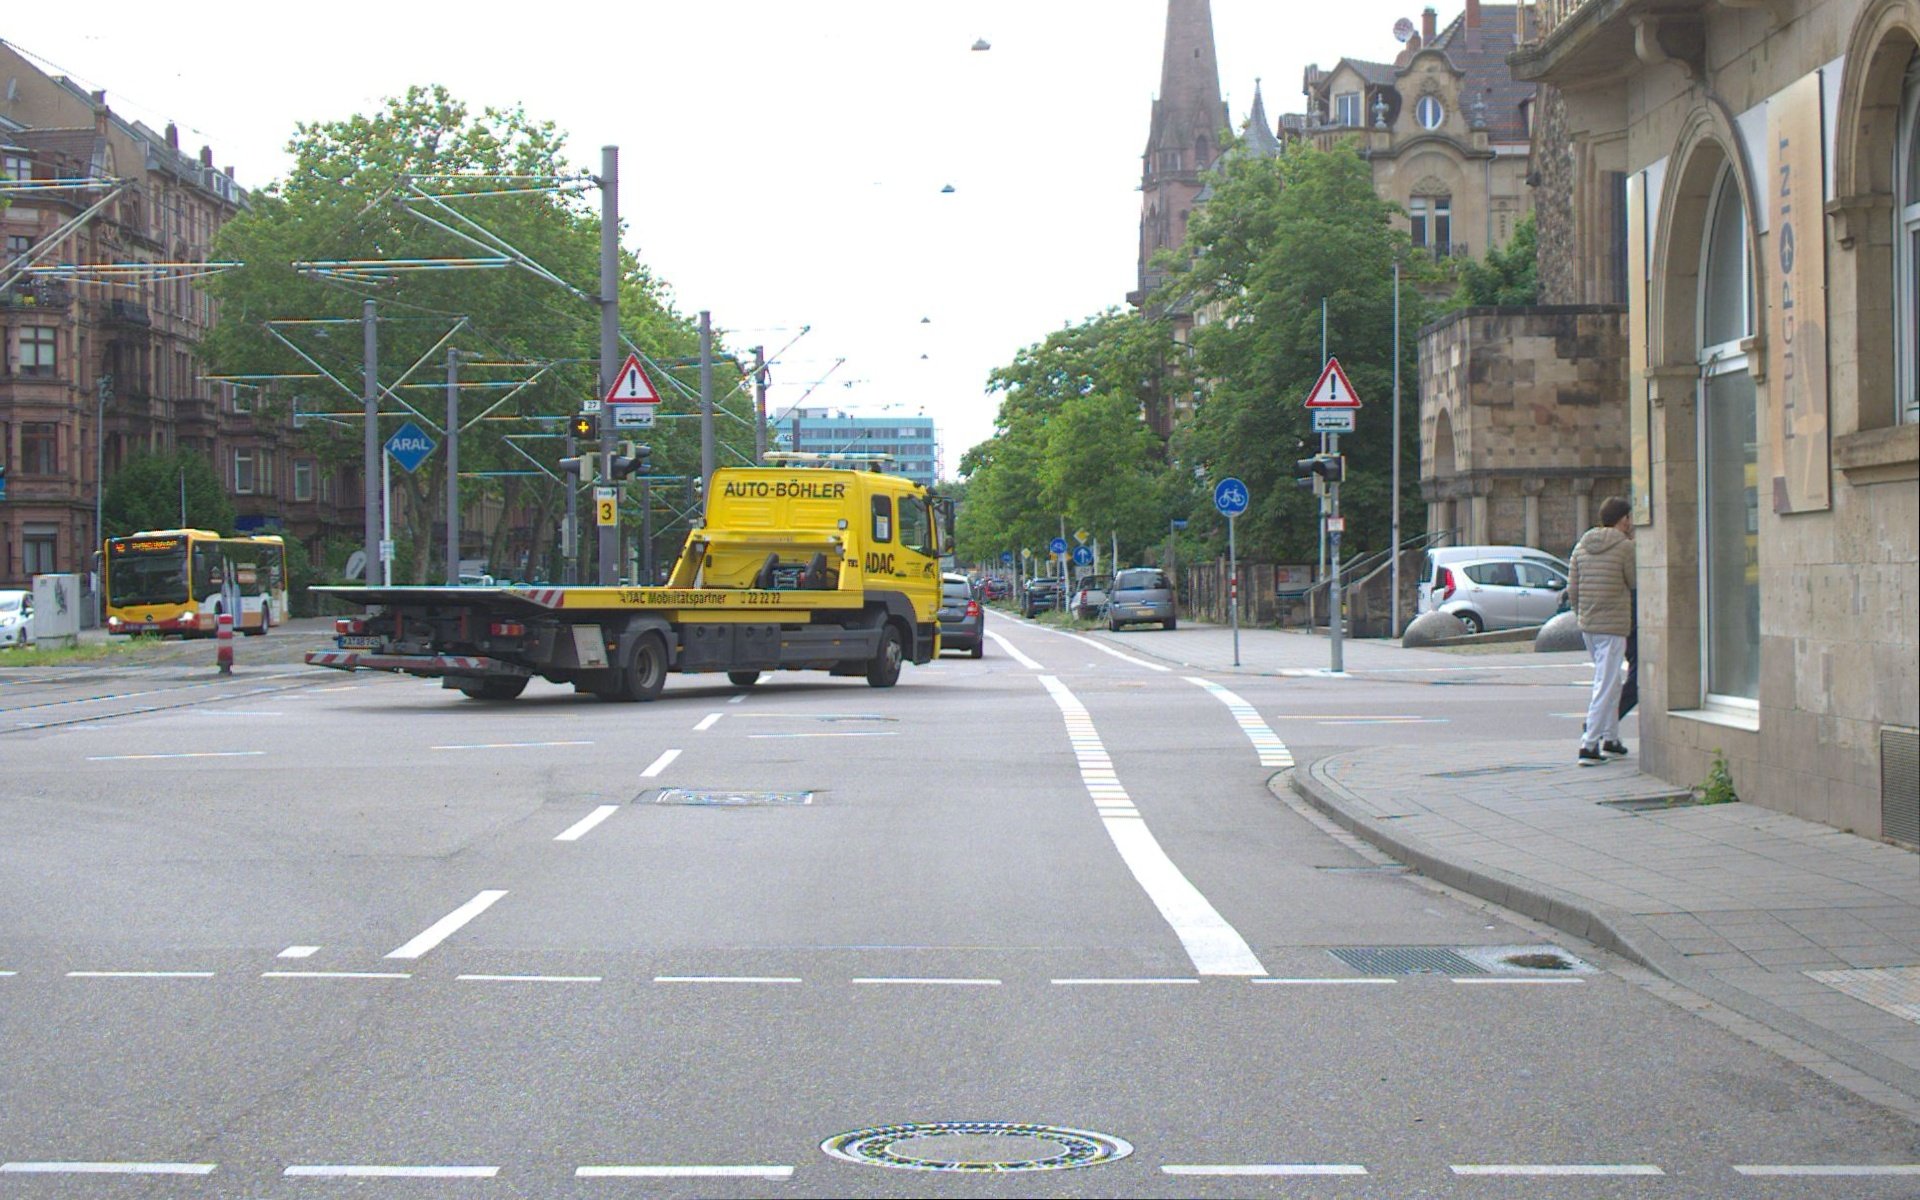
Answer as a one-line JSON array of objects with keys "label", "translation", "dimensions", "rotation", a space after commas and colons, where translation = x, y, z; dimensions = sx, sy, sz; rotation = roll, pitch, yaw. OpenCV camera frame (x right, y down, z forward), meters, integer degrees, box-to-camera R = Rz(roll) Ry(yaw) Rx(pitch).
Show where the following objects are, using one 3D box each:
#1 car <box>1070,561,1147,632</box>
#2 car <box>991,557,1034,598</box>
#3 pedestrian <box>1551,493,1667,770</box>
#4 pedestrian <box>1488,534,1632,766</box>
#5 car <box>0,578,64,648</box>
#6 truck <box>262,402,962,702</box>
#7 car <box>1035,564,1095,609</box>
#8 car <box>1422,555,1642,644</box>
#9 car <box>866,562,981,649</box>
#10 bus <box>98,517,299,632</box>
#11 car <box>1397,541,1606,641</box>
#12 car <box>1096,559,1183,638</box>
[{"label": "car", "translation": [4.282, -0.112, 99.678], "dimensions": [1.993, 2.007, 4.000], "rotation": [1, 0, -1]}, {"label": "car", "translation": [2.617, -1.135, 172.333], "dimensions": [1.993, 2.007, 4.000], "rotation": [1, 0, -1]}, {"label": "pedestrian", "translation": [4.369, 0.205, 23.105], "dimensions": [0.583, 1.807, 1.014], "rotation": [1, 0, 19]}, {"label": "pedestrian", "translation": [4.377, 0.355, 25.040], "dimensions": [0.627, 1.647, 0.994], "rotation": [1, 0, 37]}, {"label": "car", "translation": [-22.078, 0.271, 79.161], "dimensions": [1.894, 1.552, 3.836], "rotation": [1, 0, -1]}, {"label": "truck", "translation": [-3.528, -0.514, 38.732], "dimensions": [2.633, 2.931, 10.164], "rotation": [1, 1, 28]}, {"label": "car", "translation": [3.906, -0.508, 128.491], "dimensions": [1.993, 1.602, 4.164], "rotation": [-2, 0, -1]}, {"label": "car", "translation": [10.769, -0.013, 64.914], "dimensions": [3.799, 1.595, 2.000], "rotation": [1, 0, 0]}, {"label": "car", "translation": [-0.670, 0.081, 60.349], "dimensions": [1.835, 1.464, 3.993], "rotation": [1, 0, -3]}, {"label": "bus", "translation": [-22.062, -0.737, 100.451], "dimensions": [3.084, 3.101, 13.094], "rotation": [1, 0, -1]}, {"label": "car", "translation": [10.732, -0.184, 68.324], "dimensions": [3.799, 1.897, 2.000], "rotation": [1, 0, 0]}, {"label": "car", "translation": [4.688, -0.049, 90.121], "dimensions": [1.993, 2.007, 4.000], "rotation": [1, 0, -1]}]
